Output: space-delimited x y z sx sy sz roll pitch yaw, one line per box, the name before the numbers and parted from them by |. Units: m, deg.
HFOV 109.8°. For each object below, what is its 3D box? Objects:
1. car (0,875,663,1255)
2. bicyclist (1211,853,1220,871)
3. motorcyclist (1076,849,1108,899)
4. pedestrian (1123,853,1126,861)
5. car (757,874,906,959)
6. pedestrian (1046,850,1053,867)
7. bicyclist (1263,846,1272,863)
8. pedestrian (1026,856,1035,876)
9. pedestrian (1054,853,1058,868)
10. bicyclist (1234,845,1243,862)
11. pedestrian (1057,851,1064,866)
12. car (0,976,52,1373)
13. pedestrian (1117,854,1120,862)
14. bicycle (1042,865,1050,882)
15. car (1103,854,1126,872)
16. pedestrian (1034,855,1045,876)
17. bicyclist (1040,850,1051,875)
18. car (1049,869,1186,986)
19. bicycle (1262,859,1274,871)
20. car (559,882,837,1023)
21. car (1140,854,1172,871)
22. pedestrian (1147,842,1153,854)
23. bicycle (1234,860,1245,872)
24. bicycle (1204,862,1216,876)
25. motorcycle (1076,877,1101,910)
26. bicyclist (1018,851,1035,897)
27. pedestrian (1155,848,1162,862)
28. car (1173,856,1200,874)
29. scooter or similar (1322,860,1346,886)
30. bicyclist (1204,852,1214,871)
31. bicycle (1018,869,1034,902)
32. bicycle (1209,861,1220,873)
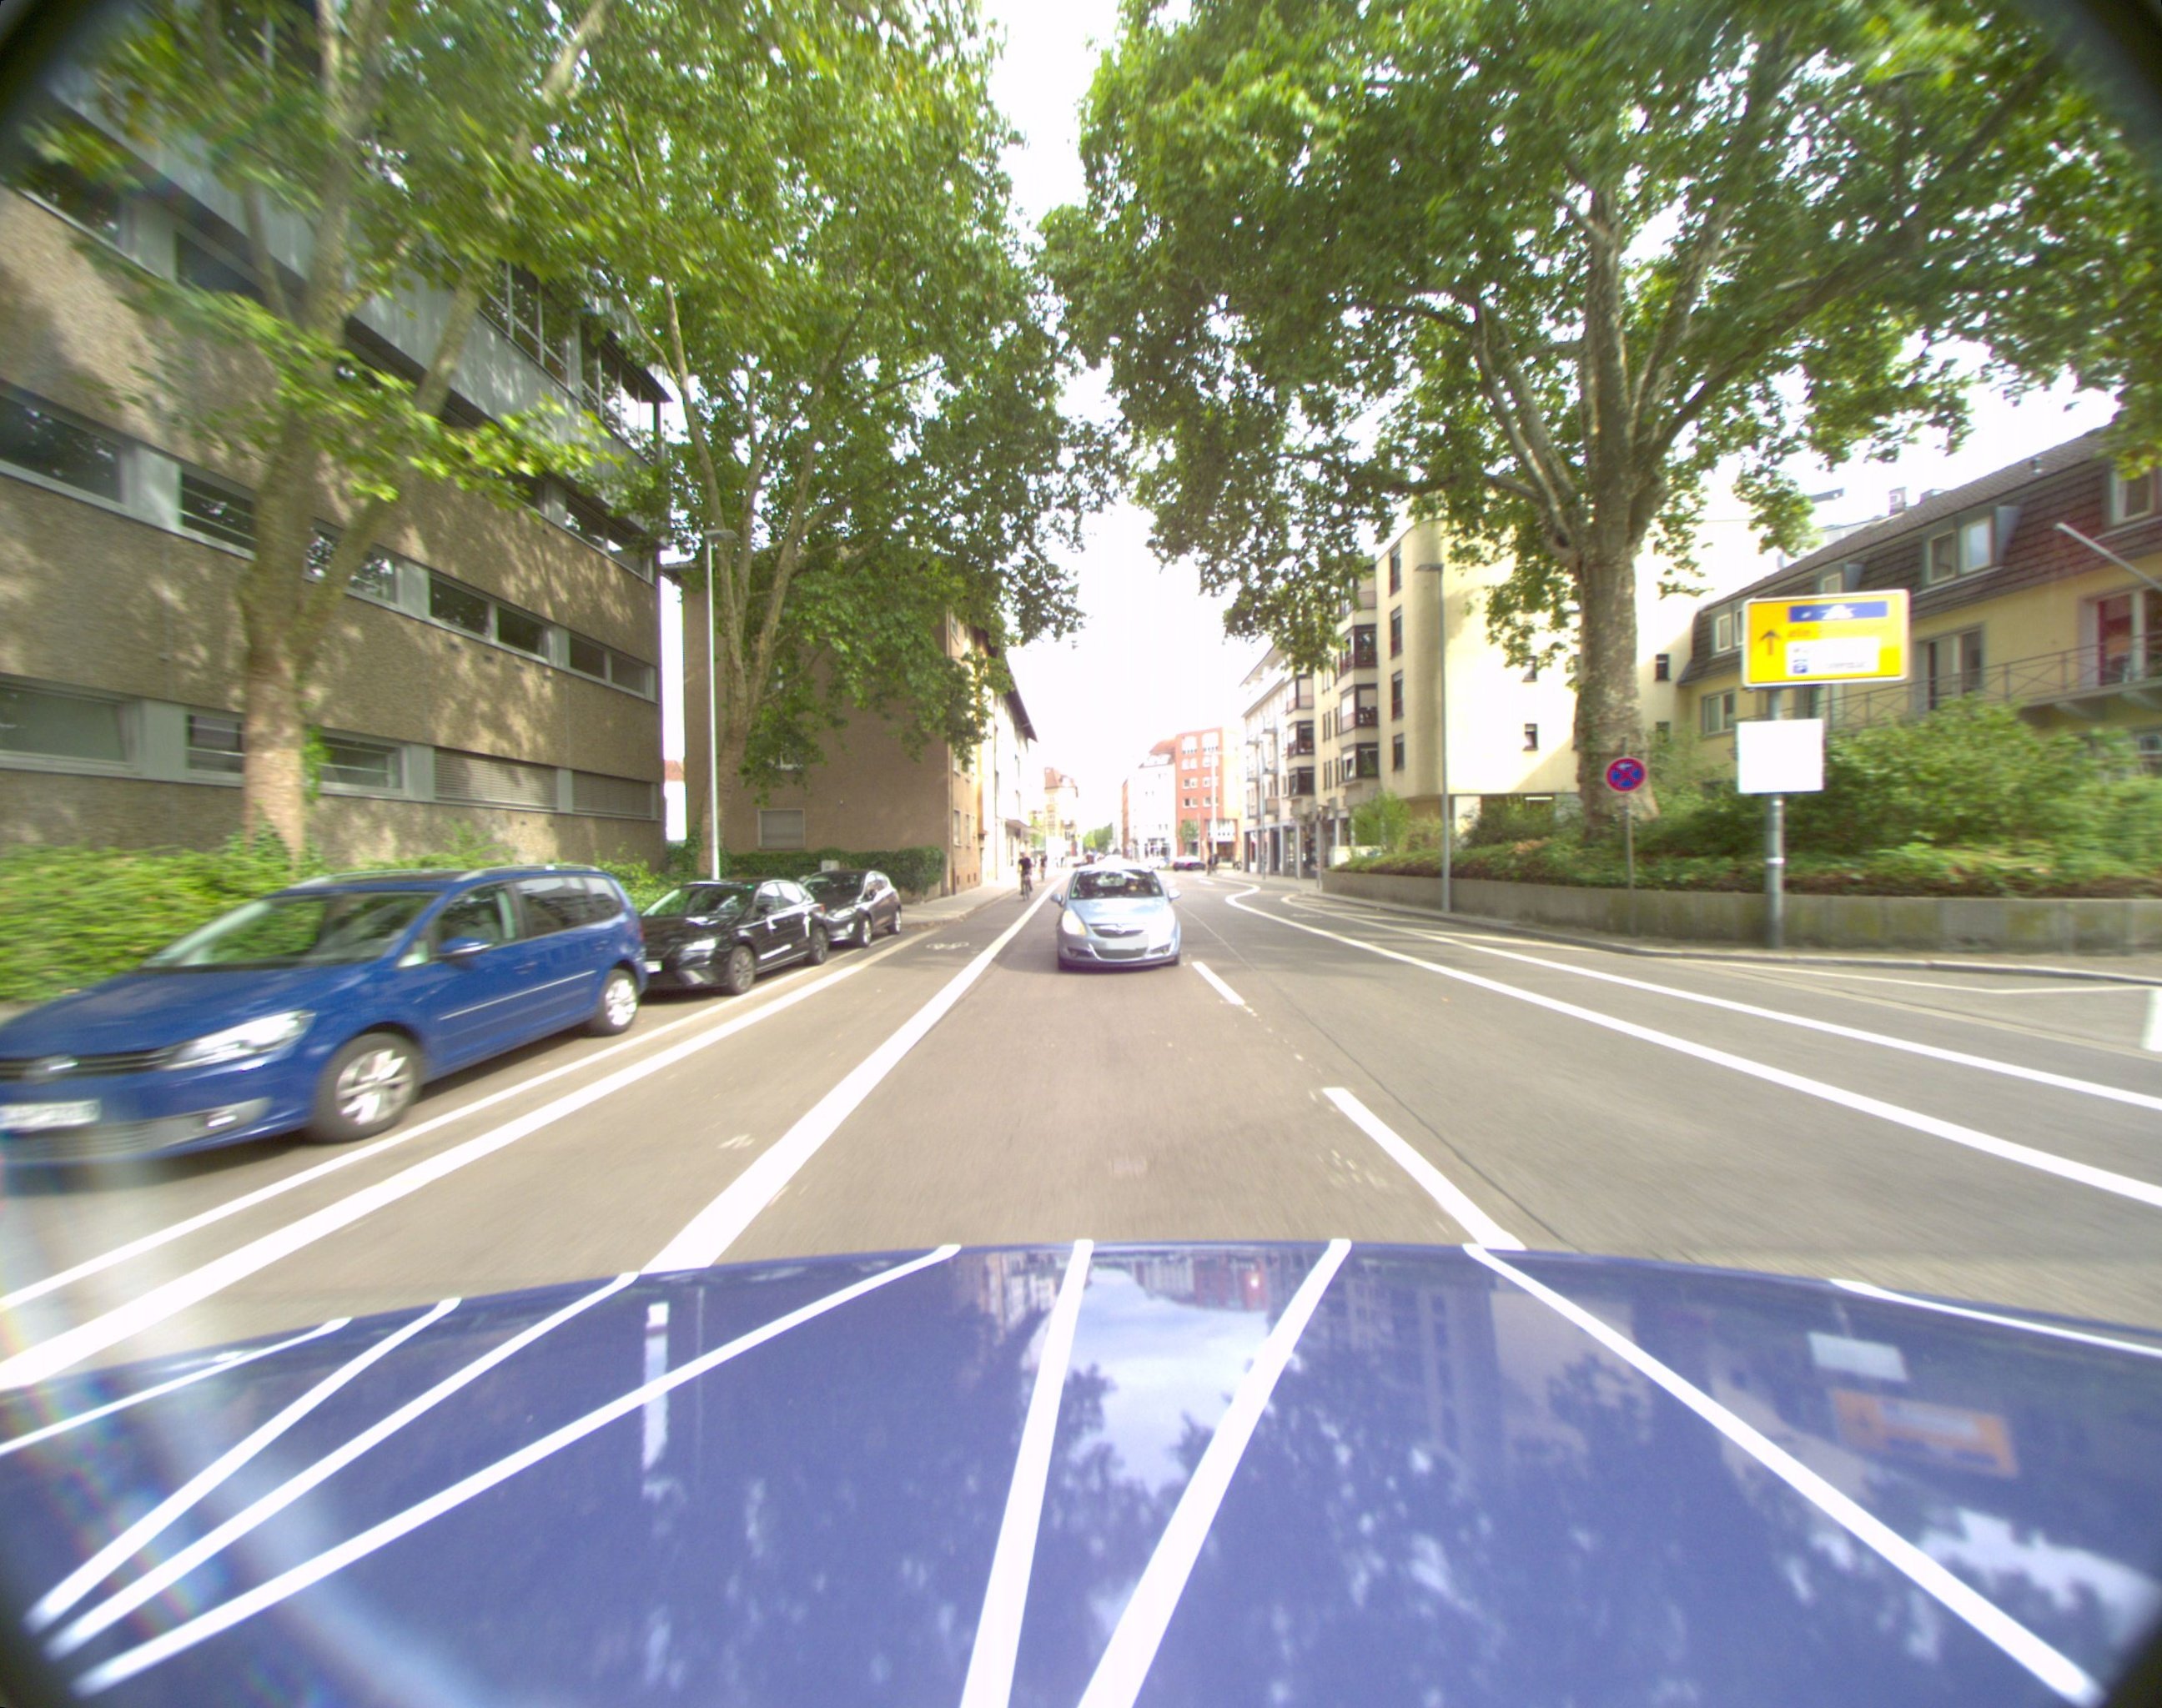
car | -5.182 1.066 5.763 1.662 1.641 4.419 -2 0 -3
bicyclist | 11.481 0.703 64.904 0.658 1.516 0.857 -3 -1 5
motorcyclist | 0.352 0.607 23.587 0.871 1.508 1.044 -1 0 6
pedestrian | 9.021 0.568 158.796 0.541 1.712 0.520 -2 1 4
car | -4.778 1.133 15.149 1.662 1.413 3.867 -1 -1 0
pedestrian | -3.618 0.475 86.842 0.673 1.892 0.590 2 0 1
bicyclist | 17.562 0.056 71.648 0.658 1.516 1.002 -3 1 5
pedestrian | -4.199 1.000 63.015 0.606 1.659 0.944 -2 0 -1
pedestrian | -2.849 0.744 86.646 0.473 1.663 0.590 2 0 1
bicyclist | 14.137 -0.049 68.171 0.658 1.516 0.841 -3 -1 5
pedestrian | -2.556 0.526 94.209 0.657 1.841 0.971 2 1 4
car | -4.670 1.175 0.573 1.680 1.386 4.460 -1 0 0
pedestrian | 7.763 0.893 158.898 0.591 1.712 0.520 -1 1 7
bicycle | -2.212 1.228 48.191 0.489 0.994 1.747 -2 0 -1
car | 3.125 0.811 70.415 1.956 1.592 4.002 -1 0 6
pedestrian | -3.427 0.944 62.927 0.753 1.740 0.859 -2 1 0
bicyclist | -2.236 0.550 48.314 0.613 1.593 0.847 -2 -1 -1
car | 0.530 0.961 11.555 1.723 1.394 4.001 0 0 2
bicycle | 17.653 1.004 71.739 0.739 1.001 1.909 -1 2 5
car | -4.906 1.170 10.429 1.661 1.413 3.947 -1 0 2
car | 8.711 1.003 87.977 1.994 1.867 4.008 -1 0 34
pedestrian | 10.155 -0.871 111.555 0.567 1.813 0.697 0 0 45
bicycle | 14.204 1.080 68.148 0.739 1.001 2.253 -3 -1 5
bicycle | 10.347 1.203 60.937 0.739 1.001 2.196 -3 -1 4
motorcycle | 0.250 1.234 24.358 0.570 0.962 2.015 -1 0 7
bicyclist | -2.042 0.729 28.638 0.560 1.699 0.862 -1 0 -1
pedestrian | 11.201 0.127 109.673 0.719 1.959 1.016 2 0 29
car | 10.139 1.090 72.614 1.813 1.398 4.618 -2 -5 17
scooter or similar | 12.428 0.921 37.316 0.287 1.257 1.173 -1 1 -36
bicyclist | 10.301 0.604 61.104 0.658 1.516 1.077 -3 -1 5
bicycle | -2.051 1.179 28.619 0.407 1.115 2.016 -3 1 -1
bicycle | 11.461 1.098 65.235 0.739 1.001 1.977 -3 -1 4
